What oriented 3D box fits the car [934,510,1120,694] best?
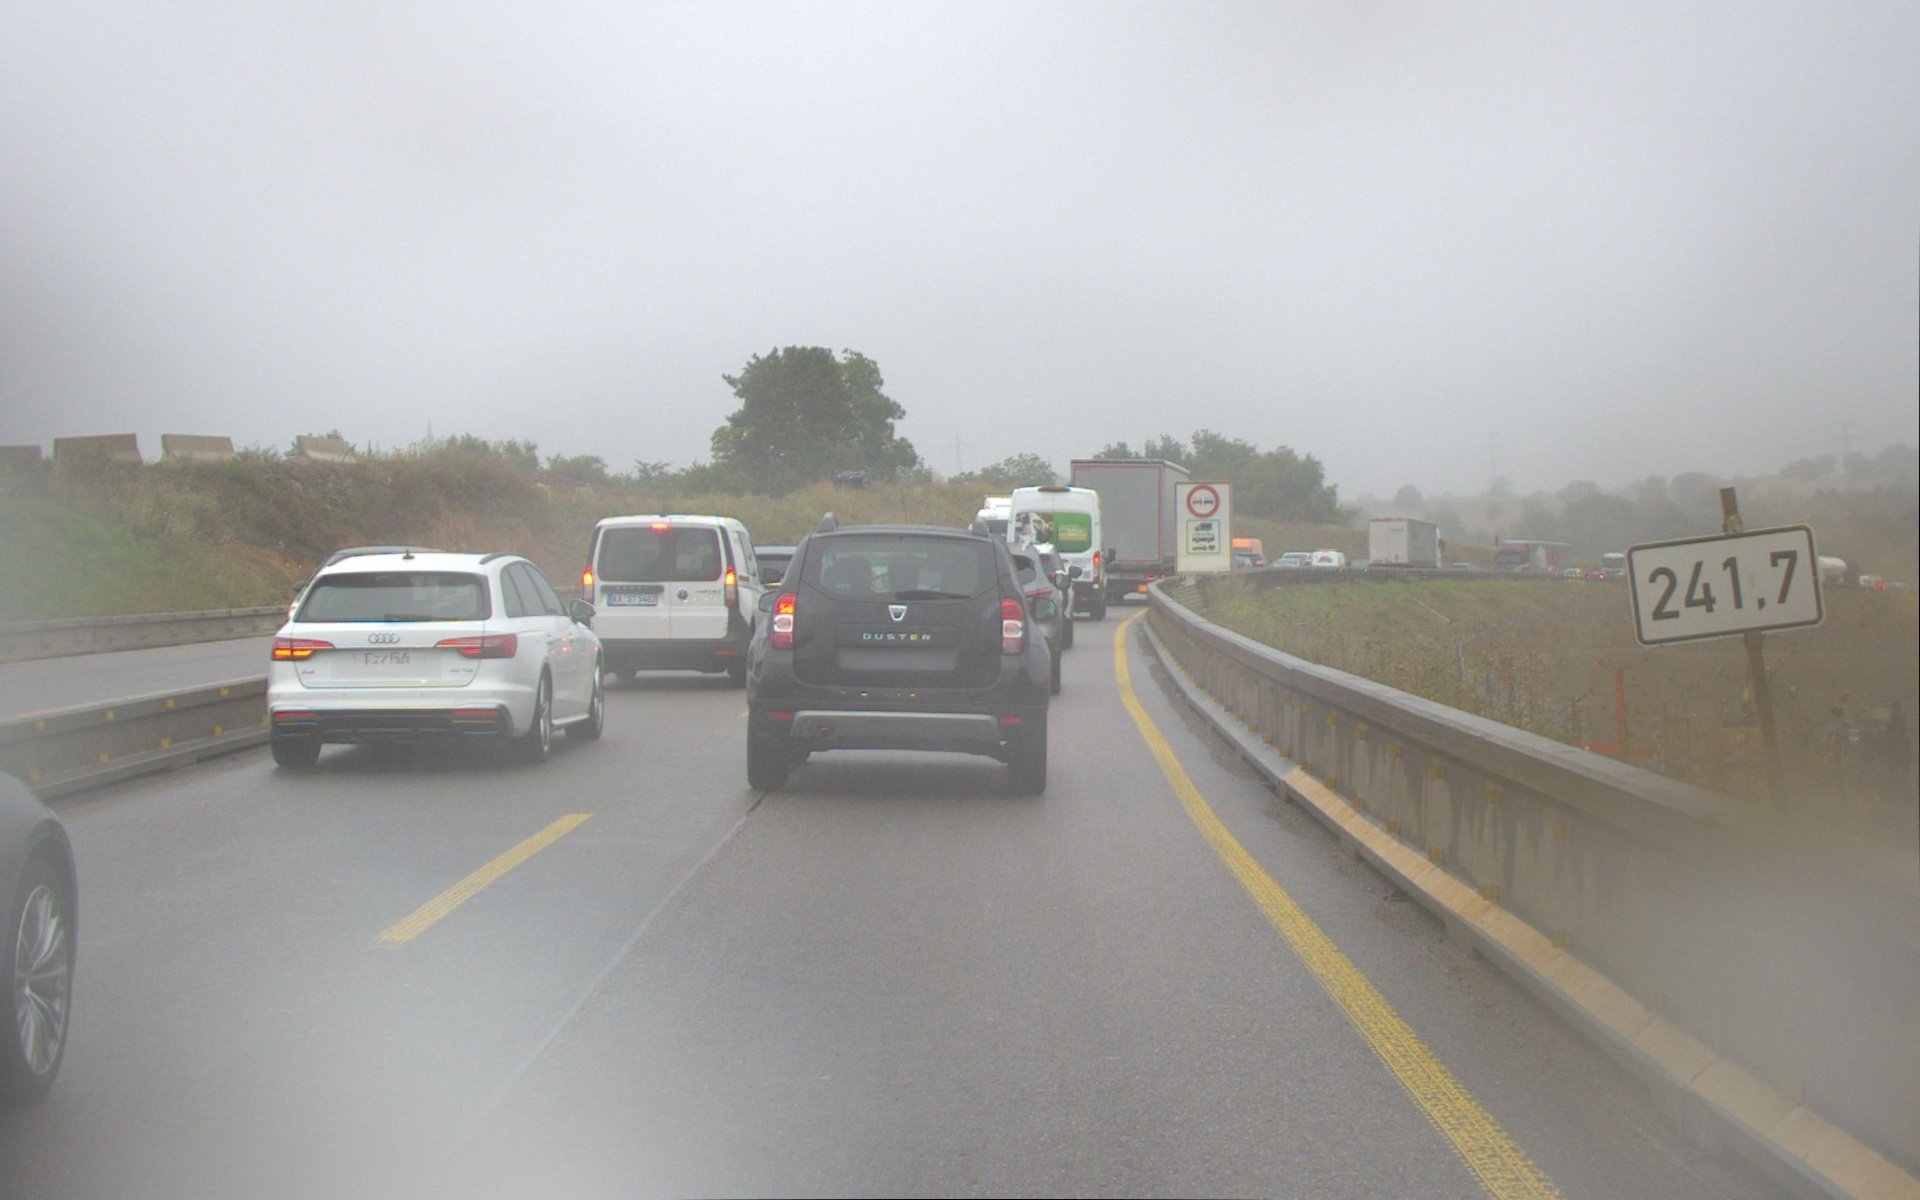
[{"bbox_3d":[0.680,0.008,36.376,1.826,1.809,4.000,1,0,0],"label":"car"}]

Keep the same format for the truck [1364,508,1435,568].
[{"bbox_3d":[28.066,-3.969,219.064,3.474,3.702,8.412,0,1,14],"label":"truck"}]

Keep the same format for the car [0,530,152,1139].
[{"bbox_3d":[-3.231,0.640,7.109,1.735,1.457,5.630,1,2,1],"label":"car"}]

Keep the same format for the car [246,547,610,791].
[{"bbox_3d":[-3.544,0.424,23.574,1.826,1.494,4.000,1,0,0],"label":"car"}]

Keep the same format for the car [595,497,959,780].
[{"bbox_3d":[-1.052,0.213,21.721,1.826,1.585,3.999,1,0,3],"label":"car"}]

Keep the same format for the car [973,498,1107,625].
[{"bbox_3d":[1.245,-0.566,51.884,1.826,1.809,3.999,1,0,4],"label":"car"}]

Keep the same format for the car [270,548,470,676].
[{"bbox_3d":[-7.042,0.127,41.378,1.610,1.438,4.462,1,0,0],"label":"car"}]

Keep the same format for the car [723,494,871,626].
[{"bbox_3d":[-2.335,-0.571,50.082,1.826,1.809,4.000,1,0,2],"label":"car"}]

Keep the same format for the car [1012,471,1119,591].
[{"bbox_3d":[2.267,-1.430,72.695,1.827,2.429,4.157,1,0,7],"label":"car"}]

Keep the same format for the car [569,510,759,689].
[{"bbox_3d":[-3.161,-0.015,37.354,1.826,1.809,4.000,1,0,-2],"label":"car"}]

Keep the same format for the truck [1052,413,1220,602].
[{"bbox_3d":[5.148,-2.527,98.358,3.545,5.060,10.437,1,0,9],"label":"truck"}]
